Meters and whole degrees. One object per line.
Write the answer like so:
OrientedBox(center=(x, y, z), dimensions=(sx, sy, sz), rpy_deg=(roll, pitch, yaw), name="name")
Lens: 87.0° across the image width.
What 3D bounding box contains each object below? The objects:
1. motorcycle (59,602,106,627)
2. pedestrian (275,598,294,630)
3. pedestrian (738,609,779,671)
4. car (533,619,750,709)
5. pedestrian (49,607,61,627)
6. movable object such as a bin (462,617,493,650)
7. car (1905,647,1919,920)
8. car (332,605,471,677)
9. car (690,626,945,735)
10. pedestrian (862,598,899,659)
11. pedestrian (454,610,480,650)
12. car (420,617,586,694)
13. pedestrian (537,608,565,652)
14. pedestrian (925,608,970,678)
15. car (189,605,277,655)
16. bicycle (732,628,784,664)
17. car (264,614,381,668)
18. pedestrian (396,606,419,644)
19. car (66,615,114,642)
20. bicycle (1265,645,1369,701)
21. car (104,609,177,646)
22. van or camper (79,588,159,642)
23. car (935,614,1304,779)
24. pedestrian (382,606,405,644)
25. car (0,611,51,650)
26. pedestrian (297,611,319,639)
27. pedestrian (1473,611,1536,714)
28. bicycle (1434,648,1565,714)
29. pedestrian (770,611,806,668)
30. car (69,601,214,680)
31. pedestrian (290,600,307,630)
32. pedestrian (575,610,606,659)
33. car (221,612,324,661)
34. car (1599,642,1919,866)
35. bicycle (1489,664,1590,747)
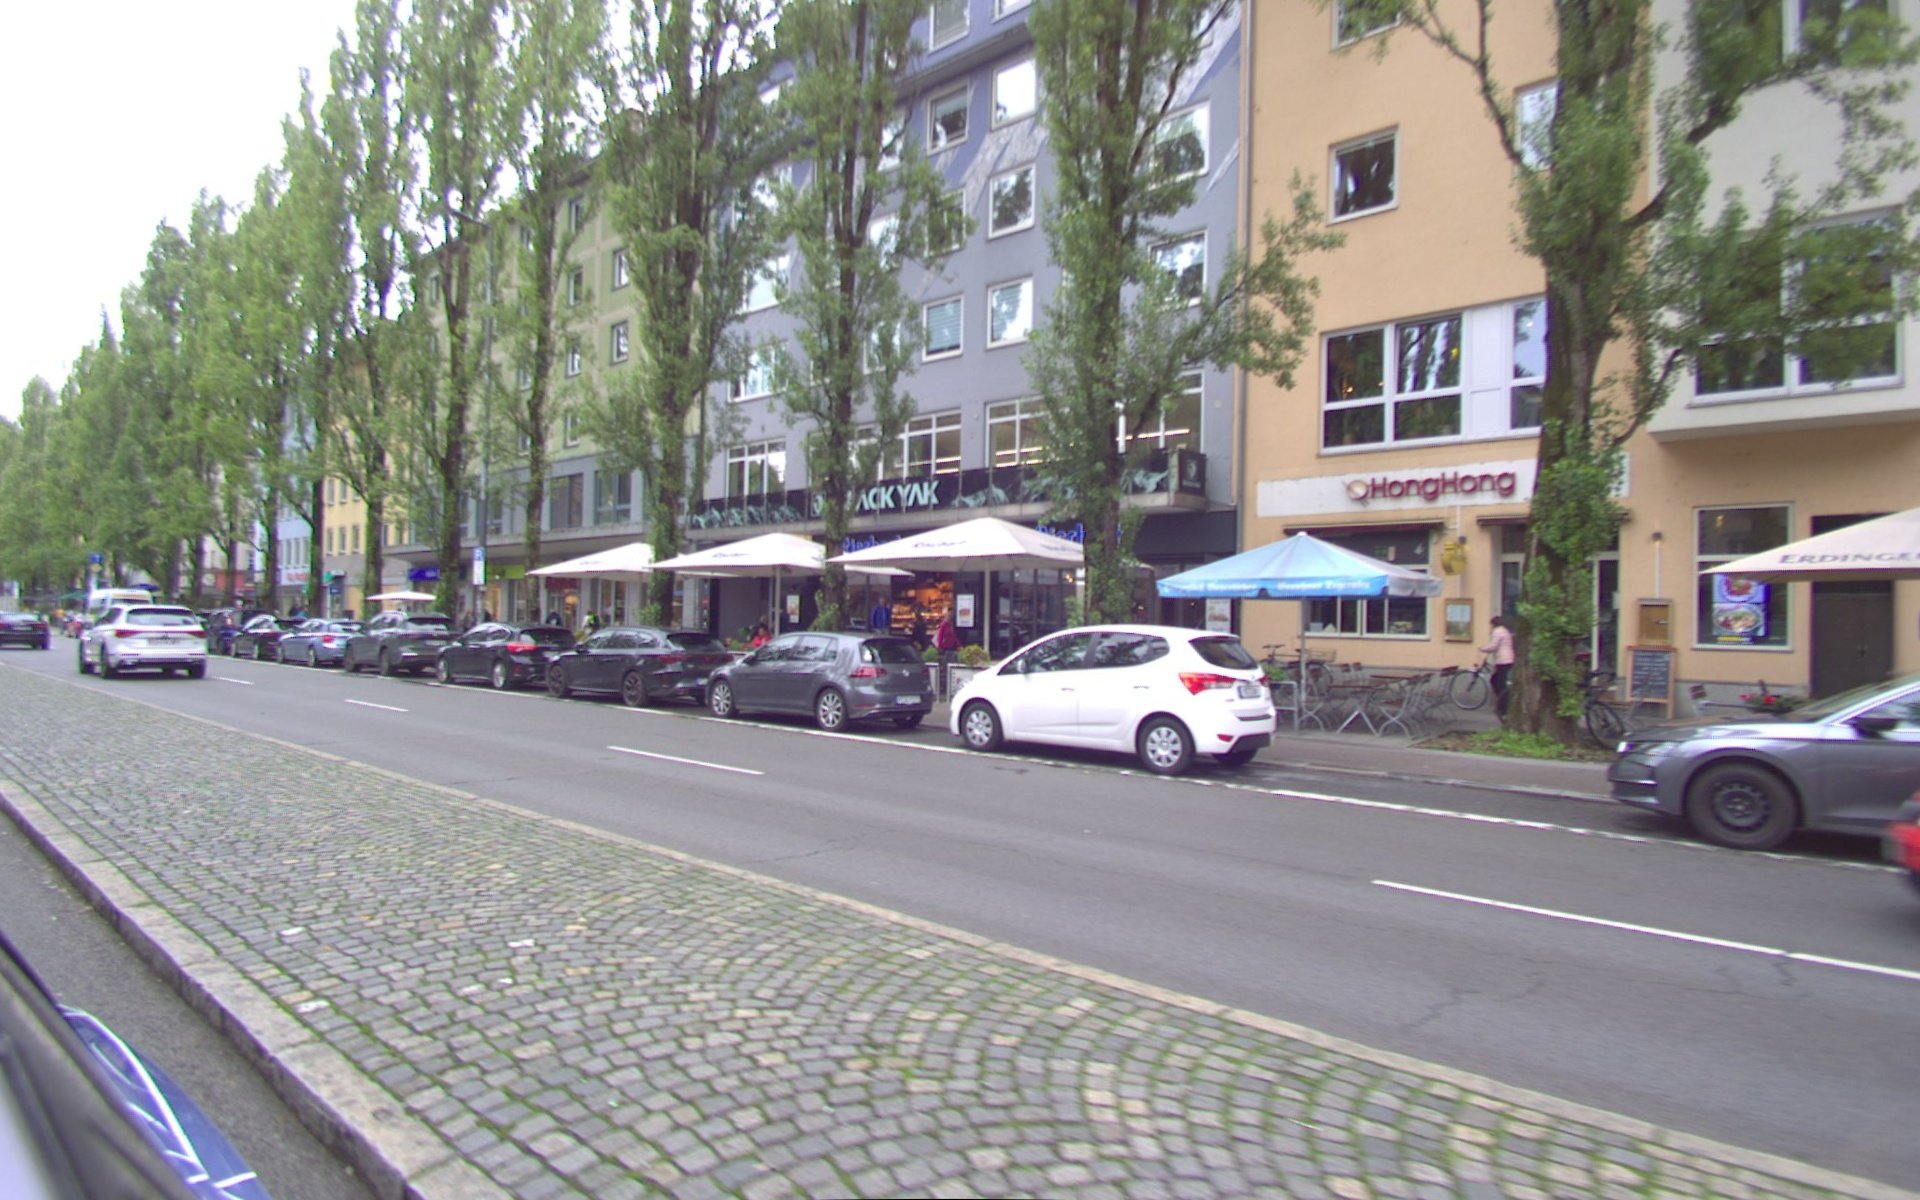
OrientedBox(center=(-52.381, 0.863, 60.434), dimensions=(0.569, 1.432, 2.001), rpy_deg=(0, -2, 33), name="motorcycle")
OrientedBox(center=(-38.517, 0.810, 57.700), dimensions=(0.723, 1.779, 0.723), rpy_deg=(0, -2, 40), name="pedestrian")
OrientedBox(center=(-5.386, 1.056, 27.015), dimensions=(0.742, 1.614, 0.746), rpy_deg=(0, -2, 40), name="pedestrian")
OrientedBox(center=(-6.048, 1.142, 18.986), dimensions=(4.429, 1.423, 1.686), rpy_deg=(0, -2, 39), name="car")
OrientedBox(center=(-71.668, 1.340, 80.145), dimensions=(0.600, 1.601, 0.552), rpy_deg=(2, -2, -38), name="pedestrian")
OrientedBox(center=(-15.707, 1.094, 32.966), dimensions=(0.654, 1.055, 0.729), rpy_deg=(1, -1, 1), name="movable object such as a bin")
OrientedBox(center=(6.684, 0.987, 4.292), dimensions=(3.821, 1.448, 1.718), rpy_deg=(0, -2, 41), name="car")
OrientedBox(center=(-14.747, 1.039, 26.620), dimensions=(4.585, 1.693, 1.761), rpy_deg=(0, -3, 42), name="car")
OrientedBox(center=(-2.297, 1.158, 15.629), dimensions=(4.184, 1.392, 1.478), rpy_deg=(0, -2, 41), name="car")
OrientedBox(center=(-2.338, 0.836, 29.664), dimensions=(0.755, 1.768, 0.733), rpy_deg=(0, -2, 41), name="pedestrian")
OrientedBox(center=(-20.384, 1.240, 41.815), dimensions=(0.711, 1.663, 0.714), rpy_deg=(0, -2, 41), name="pedestrian")
OrientedBox(center=(-10.239, 1.181, 22.527), dimensions=(4.368, 1.477, 1.659), rpy_deg=(0, -2, 41), name="car")
OrientedBox(center=(-15.836, 1.166, 39.167), dimensions=(0.755, 1.685, 0.701), rpy_deg=(-1, -2, 41), name="pedestrian")
OrientedBox(center=(-0.298, 1.016, 24.173), dimensions=(0.756, 1.614, 0.732), rpy_deg=(-1, -2, 43), name="pedestrian")
OrientedBox(center=(-27.086, 1.096, 37.654), dimensions=(3.767, 1.699, 1.602), rpy_deg=(0, -3, 38), name="car")
OrientedBox(center=(-6.397, 1.438, 32.024), dimensions=(1.575, 1.105, 0.612), rpy_deg=(0, -2, 30), name="bicycle")
OrientedBox(center=(-19.194, 1.202, 30.401), dimensions=(4.397, 1.428, 1.641), rpy_deg=(0, -2, 40), name="car")
OrientedBox(center=(-26.468, 1.189, 48.468), dimensions=(0.715, 1.808, 0.740), rpy_deg=(-1, -2, 41), name="pedestrian")
OrientedBox(center=(-47.999, 1.557, 55.809), dimensions=(3.760, 1.422, 1.539), rpy_deg=(0, -2, 42), name="car")
OrientedBox(center=(7.120, 1.437, 20.267), dimensions=(1.956, 1.010, 0.437), rpy_deg=(0, -2, 43), name="bicycle")
OrientedBox(center=(-37.462, 1.227, 46.226), dimensions=(4.257, 1.541, 1.686), rpy_deg=(0, -2, 39), name="car")
OrientedBox(center=(-42.579, 0.740, 51.169), dimensions=(6.641, 2.570, 2.103), rpy_deg=(0, -2, 41), name="van or camper")
OrientedBox(center=(1.783, 1.023, 12.145), dimensions=(4.095, 1.595, 1.685), rpy_deg=(0, -3, 42), name="car")
OrientedBox(center=(-26.864, 1.189, 47.989), dimensions=(0.715, 1.808, 0.740), rpy_deg=(-1, -2, 41), name="pedestrian")
OrientedBox(center=(-35.725, 1.102, 38.002), dimensions=(4.174, 1.372, 1.817), rpy_deg=(0, -4, 41), name="car")
OrientedBox(center=(-33.787, 1.313, 52.441), dimensions=(0.550, 1.449, 0.760), rpy_deg=(0, -2, 36), name="pedestrian")
OrientedBox(center=(9.170, 1.034, 17.041), dimensions=(0.801, 1.681, 0.772), rpy_deg=(0, -2, 40), name="pedestrian")
OrientedBox(center=(9.266, 1.370, 17.435), dimensions=(1.956, 1.010, 0.437), rpy_deg=(0, -2, 43), name="bicycle")
OrientedBox(center=(-5.118, 1.160, 30.105), dimensions=(0.756, 1.653, 0.732), rpy_deg=(-1, -2, 43), name="pedestrian")
OrientedBox(center=(-19.004, 0.898, 23.428), dimensions=(4.574, 1.648, 1.824), rpy_deg=(0, -3, 42), name="car")
OrientedBox(center=(-38.161, 0.840, 58.373), dimensions=(0.723, 1.717, 0.632), rpy_deg=(0, -2, 41), name="pedestrian")
OrientedBox(center=(-13.617, 1.249, 37.280), dimensions=(0.755, 1.768, 0.810), rpy_deg=(-1, -2, 41), name="pedestrian")
OrientedBox(center=(-22.887, 1.175, 33.646), dimensions=(4.583, 1.457, 1.685), rpy_deg=(0, -2, 41), name="car")
OrientedBox(center=(7.367, 1.111, 7.215), dimensions=(4.586, 1.449, 1.686), rpy_deg=(0, -2, 39), name="car")
OrientedBox(center=(7.595, 1.357, 13.332), dimensions=(0.320, 0.966, 1.537), rpy_deg=(1, -1, -6), name="bicycle")
